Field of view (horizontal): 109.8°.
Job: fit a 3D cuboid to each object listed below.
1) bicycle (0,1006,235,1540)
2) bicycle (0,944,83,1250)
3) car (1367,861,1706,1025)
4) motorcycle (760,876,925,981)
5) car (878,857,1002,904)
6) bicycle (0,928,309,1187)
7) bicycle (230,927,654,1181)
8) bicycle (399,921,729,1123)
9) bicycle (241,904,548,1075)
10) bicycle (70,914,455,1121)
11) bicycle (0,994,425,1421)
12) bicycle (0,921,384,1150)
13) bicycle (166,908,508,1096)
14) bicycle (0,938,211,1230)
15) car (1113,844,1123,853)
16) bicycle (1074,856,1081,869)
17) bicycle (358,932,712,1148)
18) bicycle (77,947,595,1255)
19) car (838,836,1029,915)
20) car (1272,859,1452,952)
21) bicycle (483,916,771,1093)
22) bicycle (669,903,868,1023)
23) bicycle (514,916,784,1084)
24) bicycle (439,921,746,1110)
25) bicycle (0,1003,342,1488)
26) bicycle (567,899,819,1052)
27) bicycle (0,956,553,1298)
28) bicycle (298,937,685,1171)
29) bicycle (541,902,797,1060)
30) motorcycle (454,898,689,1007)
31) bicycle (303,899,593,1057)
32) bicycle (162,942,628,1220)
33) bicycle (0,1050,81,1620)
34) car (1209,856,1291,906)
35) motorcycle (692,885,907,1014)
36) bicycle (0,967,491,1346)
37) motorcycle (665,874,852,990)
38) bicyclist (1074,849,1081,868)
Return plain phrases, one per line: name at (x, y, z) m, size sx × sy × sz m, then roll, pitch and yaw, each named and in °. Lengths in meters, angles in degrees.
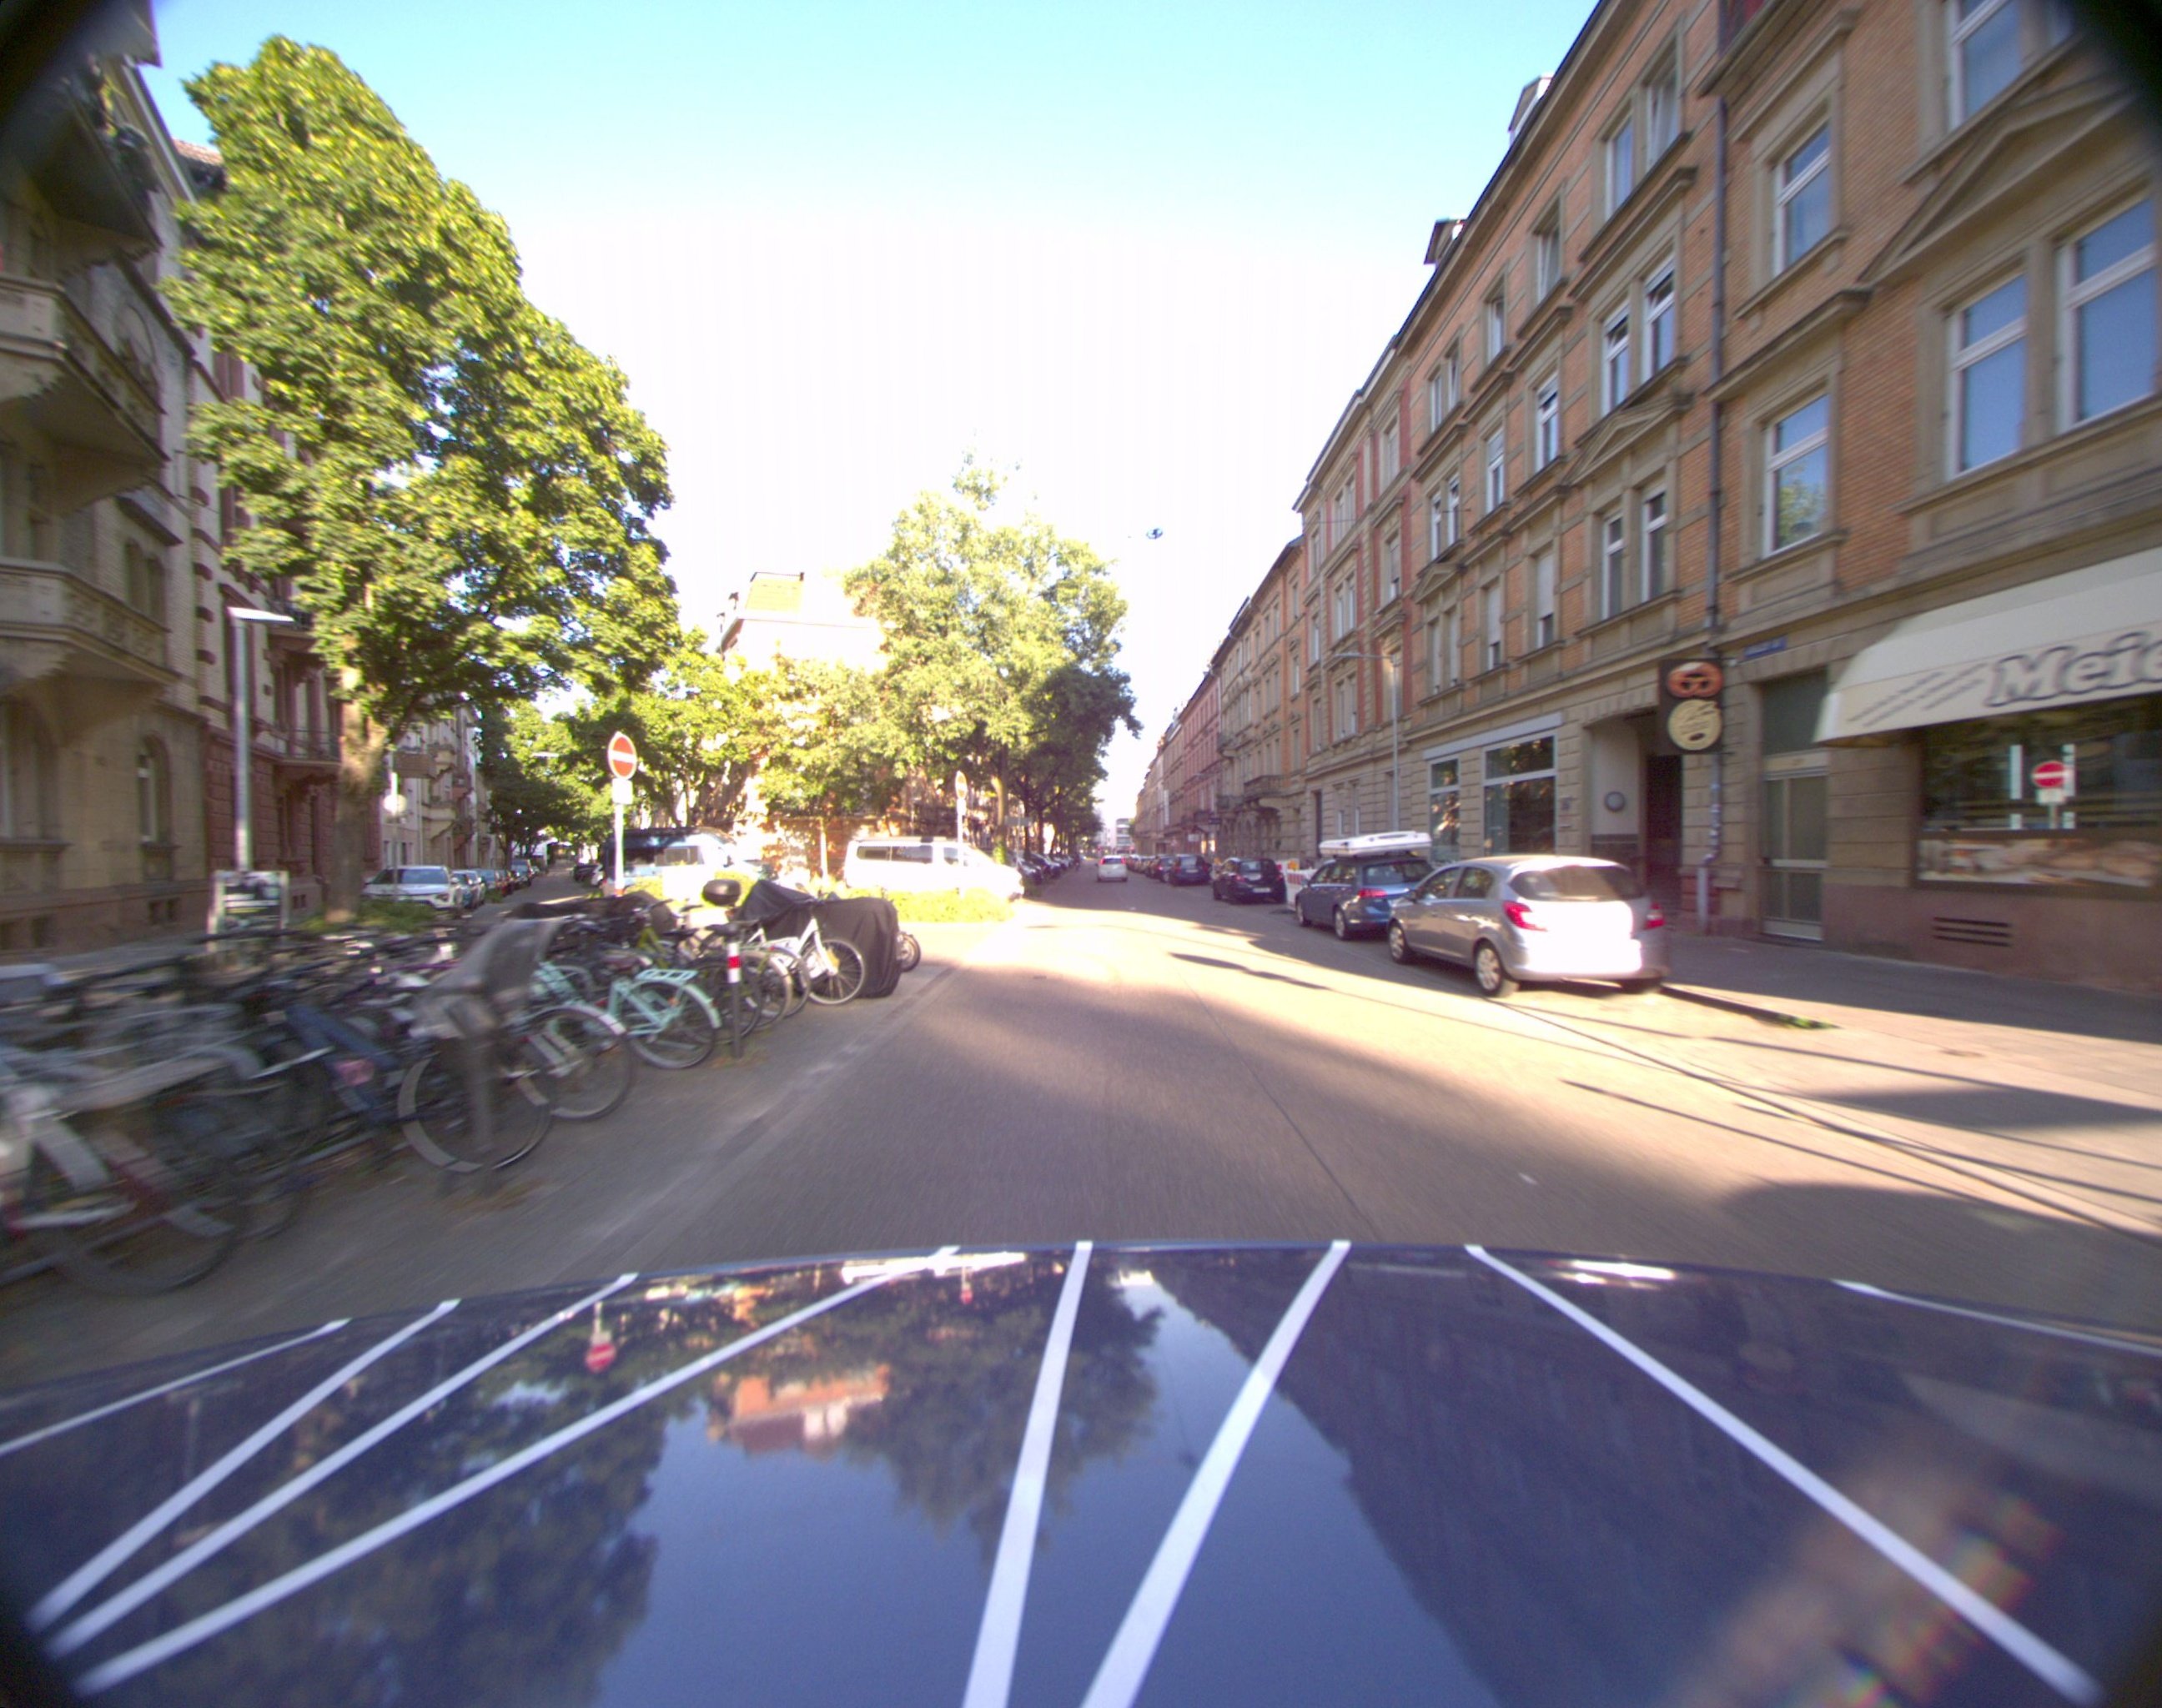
bicycle at (-3.387, 1.073, 1.937) m, size 1.930 × 1.239 × 0.303 m, roll -1°, pitch 1°, yaw -5°
bicycle at (-5.468, 1.044, 3.106) m, size 1.930 × 1.239 × 0.479 m, roll -1°, pitch 1°, yaw -5°
car at (5.070, 0.864, 9.203) m, size 1.729 × 1.429 × 3.996 m, roll -3°, pitch 0°, yaw 1°
motorcycle at (-3.202, 0.990, 10.337) m, size 2.020 × 1.319 × 0.621 m, roll -1°, pitch 1°, yaw -3°
car at (-4.766, 0.867, 26.029) m, size 3.850 × 1.507 × 1.848 m, roll -1°, pitch 0°, yaw 1°
bicycle at (-5.453, 1.071, 4.098) m, size 1.930 × 1.239 × 0.479 m, roll -1°, pitch 1°, yaw -5°
bicycle at (-3.445, 1.062, 4.179) m, size 1.930 × 1.239 × 0.303 m, roll -1°, pitch 1°, yaw -5°
bicycle at (-3.479, 1.119, 5.193) m, size 1.930 × 1.239 × 0.303 m, roll -1°, pitch 1°, yaw -5°
bicycle at (-5.527, 1.069, 6.191) m, size 1.930 × 1.239 × 0.479 m, roll -1°, pitch 1°, yaw -5°
bicycle at (-5.483, 1.070, 5.168) m, size 1.930 × 1.239 × 0.479 m, roll -1°, pitch 1°, yaw -5°
bicycle at (-3.335, 1.141, 2.507) m, size 1.930 × 1.239 × 0.303 m, roll -1°, pitch 1°, yaw -5°
bicycle at (-5.473, 1.070, 4.630) m, size 1.930 × 1.239 × 0.395 m, roll -1°, pitch 1°, yaw -5°
bicycle at (-5.496, 1.070, 5.687) m, size 1.930 × 1.239 × 0.479 m, roll -1°, pitch 1°, yaw -5°
bicycle at (-5.428, 1.071, 3.576) m, size 1.930 × 1.239 × 0.479 m, roll -1°, pitch 1°, yaw -5°
car at (7.506, -1.080, 153.200) m, size 1.868 × 1.620 × 3.826 m, roll -1°, pitch 0°, yaw 3°
bicycle at (-0.348, 0.846, 74.607) m, size 0.712 × 1.252 × 1.888 m, roll 0°, pitch 0°, yaw 1°
bicycle at (-3.444, 1.161, 4.870) m, size 1.930 × 1.239 × 0.303 m, roll -1°, pitch 1°, yaw -5°
bicycle at (-3.365, 1.099, 3.518) m, size 1.930 × 1.239 × 0.303 m, roll -1°, pitch 1°, yaw -5°
car at (-4.075, 0.591, 21.666) m, size 4.986 × 2.084 × 2.106 m, roll -1°, pitch 1°, yaw 1°
car at (5.051, 0.844, 14.346) m, size 1.769 × 1.429 × 4.300 m, roll -1°, pitch 0°, yaw -1°
bicycle at (-3.448, 1.132, 5.844) m, size 1.930 × 1.239 × 0.303 m, roll -1°, pitch 1°, yaw -5°
bicycle at (-3.154, 1.095, 7.742) m, size 1.822 × 1.121 × 0.443 m, roll 1°, pitch 1°, yaw 0°
bicycle at (-3.467, 1.163, 6.174) m, size 1.930 × 1.239 × 0.303 m, roll -1°, pitch 1°, yaw -5°
bicycle at (-3.508, 1.147, 5.529) m, size 1.930 × 1.239 × 0.303 m, roll -1°, pitch 1°, yaw -5°
bicycle at (-3.314, 1.109, 2.174) m, size 1.930 × 1.239 × 0.303 m, roll -1°, pitch 1°, yaw -5°
bicycle at (-3.492, 1.073, 6.980) m, size 1.930 × 1.239 × 0.648 m, roll -1°, pitch 1°, yaw -5°
bicycle at (-3.339, 1.099, 3.191) m, size 1.911 × 1.239 × 0.303 m, roll -1°, pitch 1°, yaw -5°
bicycle at (-3.447, 1.157, 4.522) m, size 1.930 × 1.239 × 0.303 m, roll -1°, pitch 1°, yaw -5°
bicycle at (-3.475, 1.058, 6.480) m, size 1.930 × 1.239 × 0.303 m, roll -1°, pitch 1°, yaw -5°
motorcycle at (-5.662, 1.076, 8.555) m, size 2.028 × 1.102 × 0.904 m, roll 0°, pitch 1°, yaw -1°
bicycle at (-5.573, 1.069, 6.782) m, size 1.930 × 1.239 × 0.648 m, roll -1°, pitch 1°, yaw -5°
bicycle at (-3.407, 1.113, 3.856) m, size 1.930 × 1.239 × 0.303 m, roll -1°, pitch 1°, yaw -5°
bicycle at (-3.386, 1.110, 1.599) m, size 1.930 × 1.239 × 0.303 m, roll -1°, pitch 1°, yaw -5°
car at (5.335, 0.794, 24.409) m, size 1.708 × 1.446 × 4.019 m, roll -1°, pitch 0°, yaw 0°
motorcycle at (-3.054, 1.019, 8.427) m, size 2.028 × 1.277 × 0.904 m, roll 1°, pitch 1°, yaw -1°
bicycle at (-3.356, 1.095, 2.839) m, size 1.930 × 1.239 × 0.303 m, roll -1°, pitch 1°, yaw -5°
motorcycle at (-3.960, 0.940, 9.420) m, size 2.028 × 1.354 × 0.694 m, roll 0°, pitch 1°, yaw 1°
bicyclist at (-0.333, 0.410, 74.651) m, size 0.712 × 1.865 × 1.120 m, roll 0°, pitch 1°, yaw 1°
